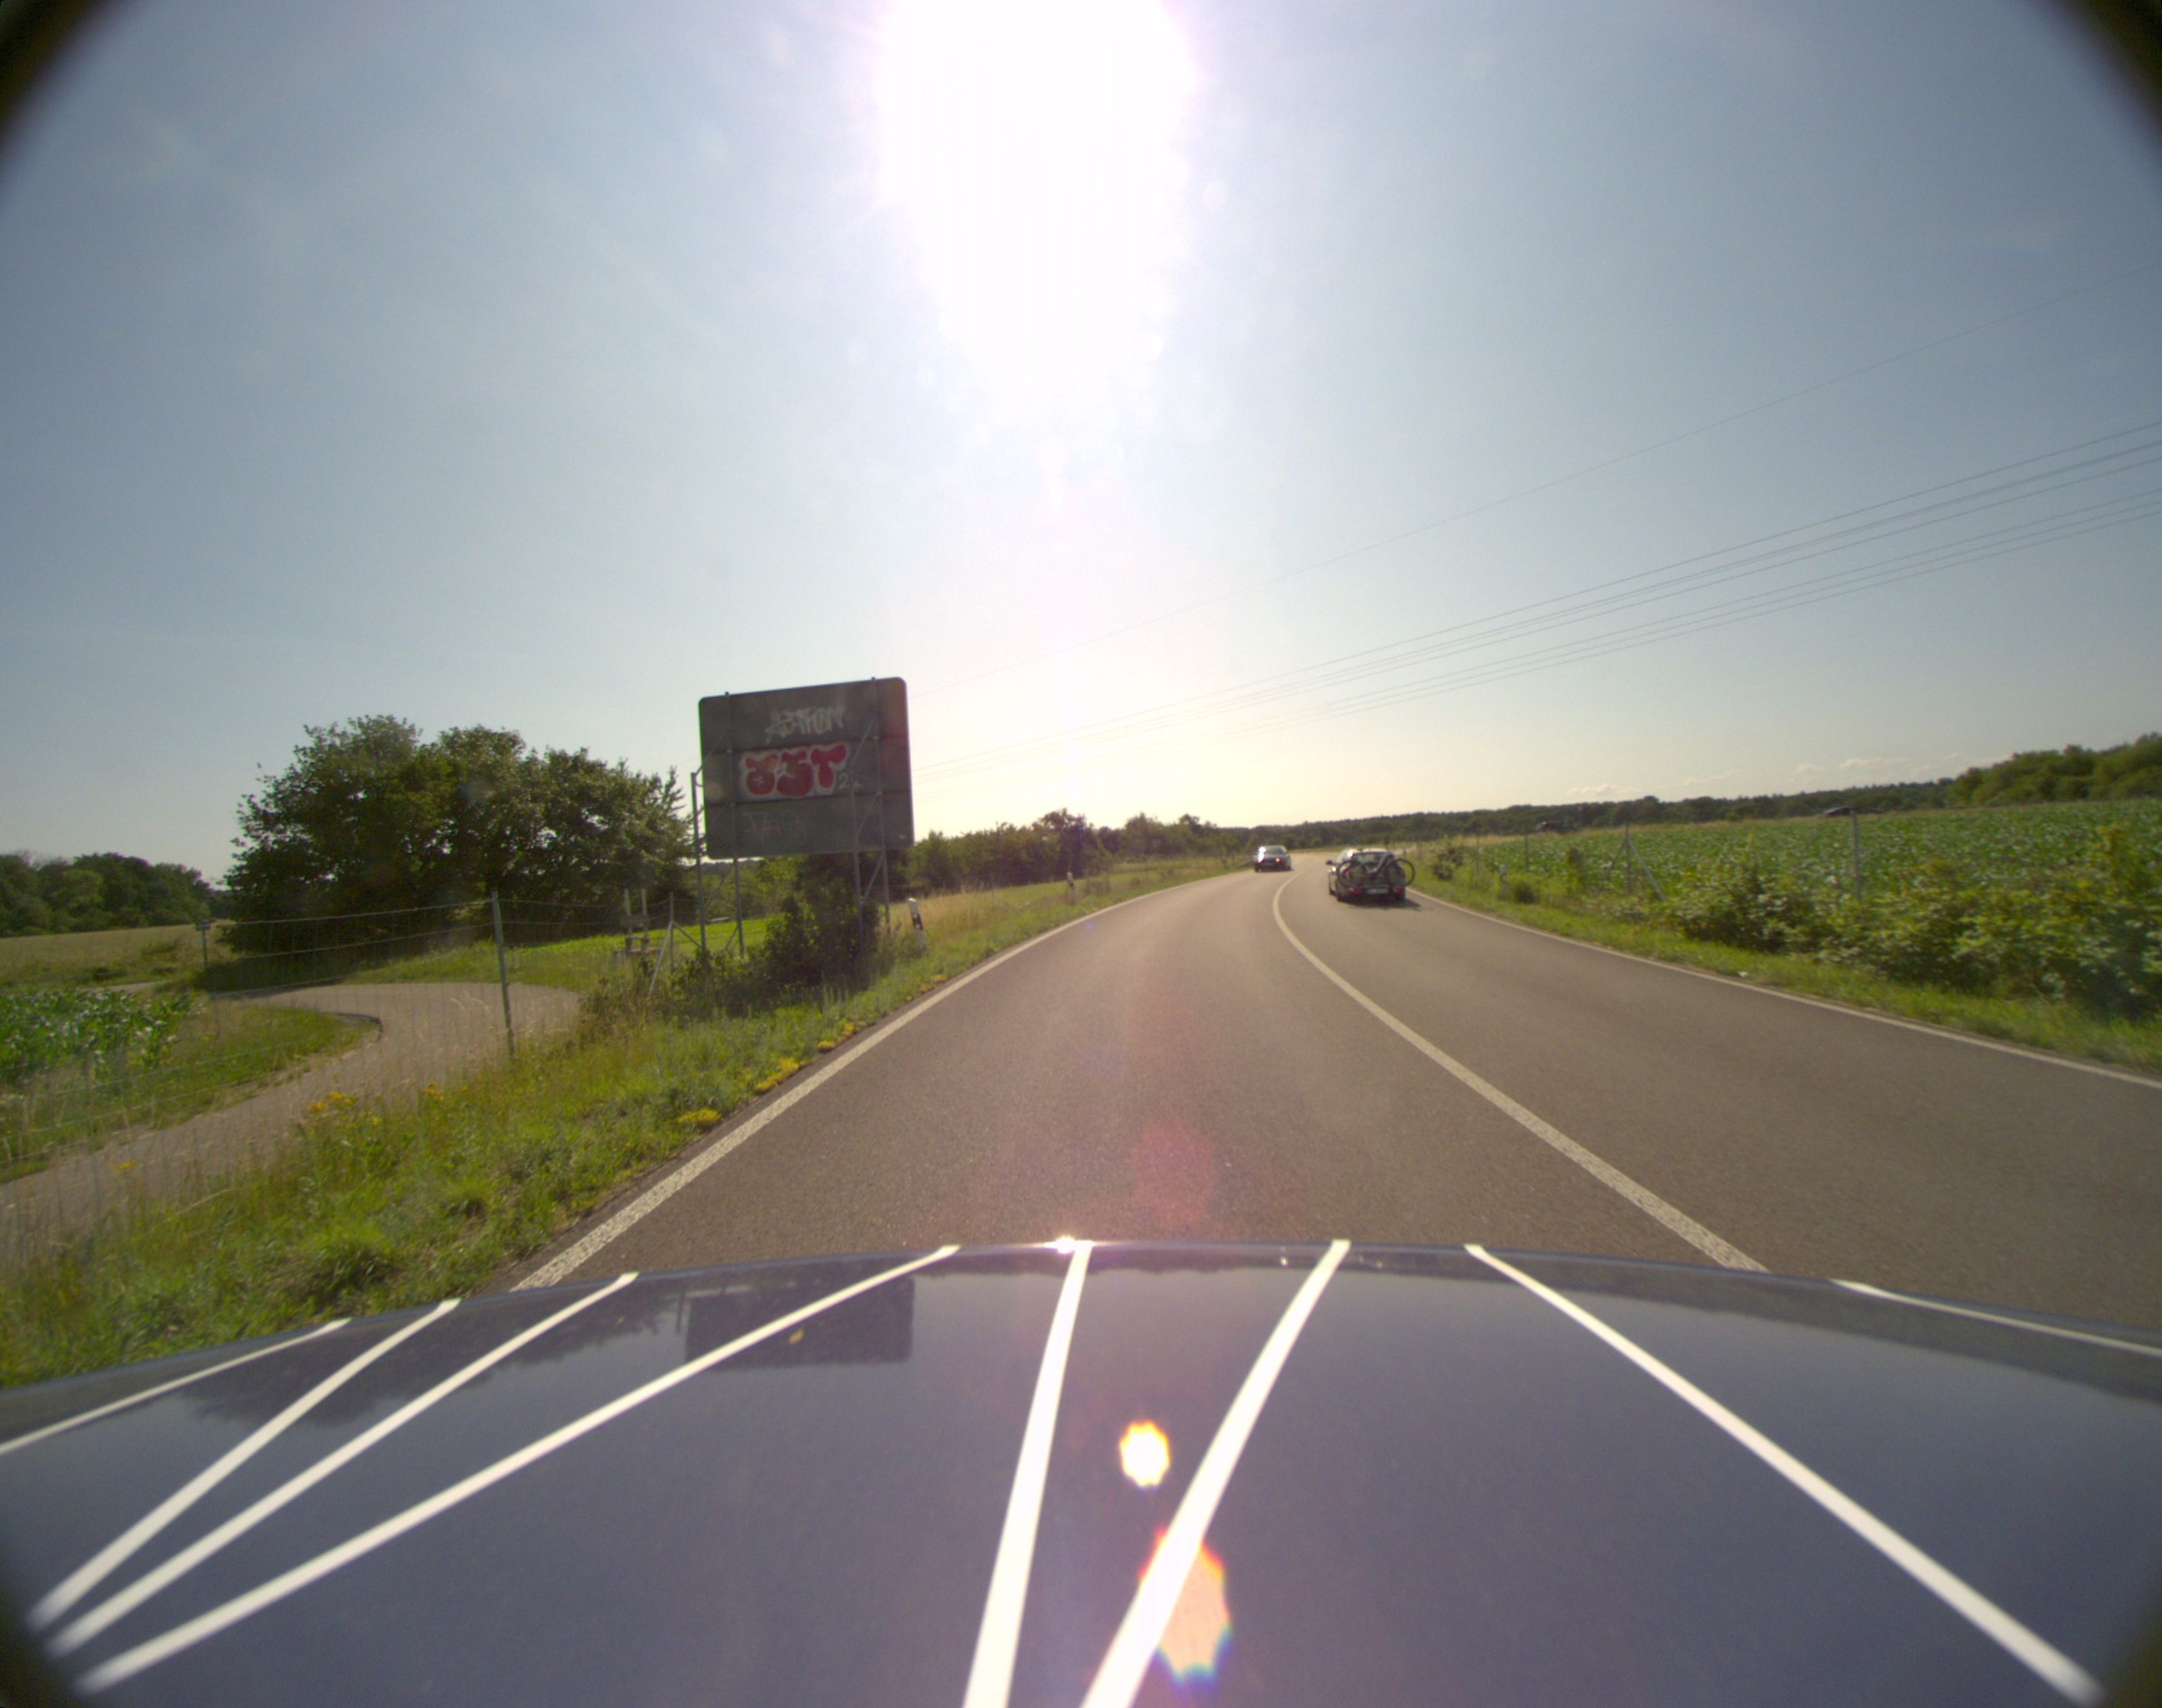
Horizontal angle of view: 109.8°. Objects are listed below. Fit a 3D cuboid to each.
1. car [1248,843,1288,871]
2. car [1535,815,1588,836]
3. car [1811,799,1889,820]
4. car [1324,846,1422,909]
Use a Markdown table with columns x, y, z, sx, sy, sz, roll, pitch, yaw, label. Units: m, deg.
| x | y | z | sx | sy | sz | roll | pitch | yaw | label |
| --- | --- | --- | --- | --- | --- | --- | --- | --- | --- |
| 10.732 | 0.129 | 43.362 | 1.884 | 1.448 | 4.080 | -3 | 0 | 18 | car |
| 46.388 | -2.758 | 73.330 | 4.263 | 1.697 | 1.987 | -4 | 2 | -16 | car |
| 68.935 | -3.957 | 68.188 | 4.583 | 1.448 | 1.783 | -4 | 0 | 21 | car |
| 7.975 | 0.552 | 21.226 | 1.869 | 1.472 | 5.140 | 0 | 1 | 13 | car |
